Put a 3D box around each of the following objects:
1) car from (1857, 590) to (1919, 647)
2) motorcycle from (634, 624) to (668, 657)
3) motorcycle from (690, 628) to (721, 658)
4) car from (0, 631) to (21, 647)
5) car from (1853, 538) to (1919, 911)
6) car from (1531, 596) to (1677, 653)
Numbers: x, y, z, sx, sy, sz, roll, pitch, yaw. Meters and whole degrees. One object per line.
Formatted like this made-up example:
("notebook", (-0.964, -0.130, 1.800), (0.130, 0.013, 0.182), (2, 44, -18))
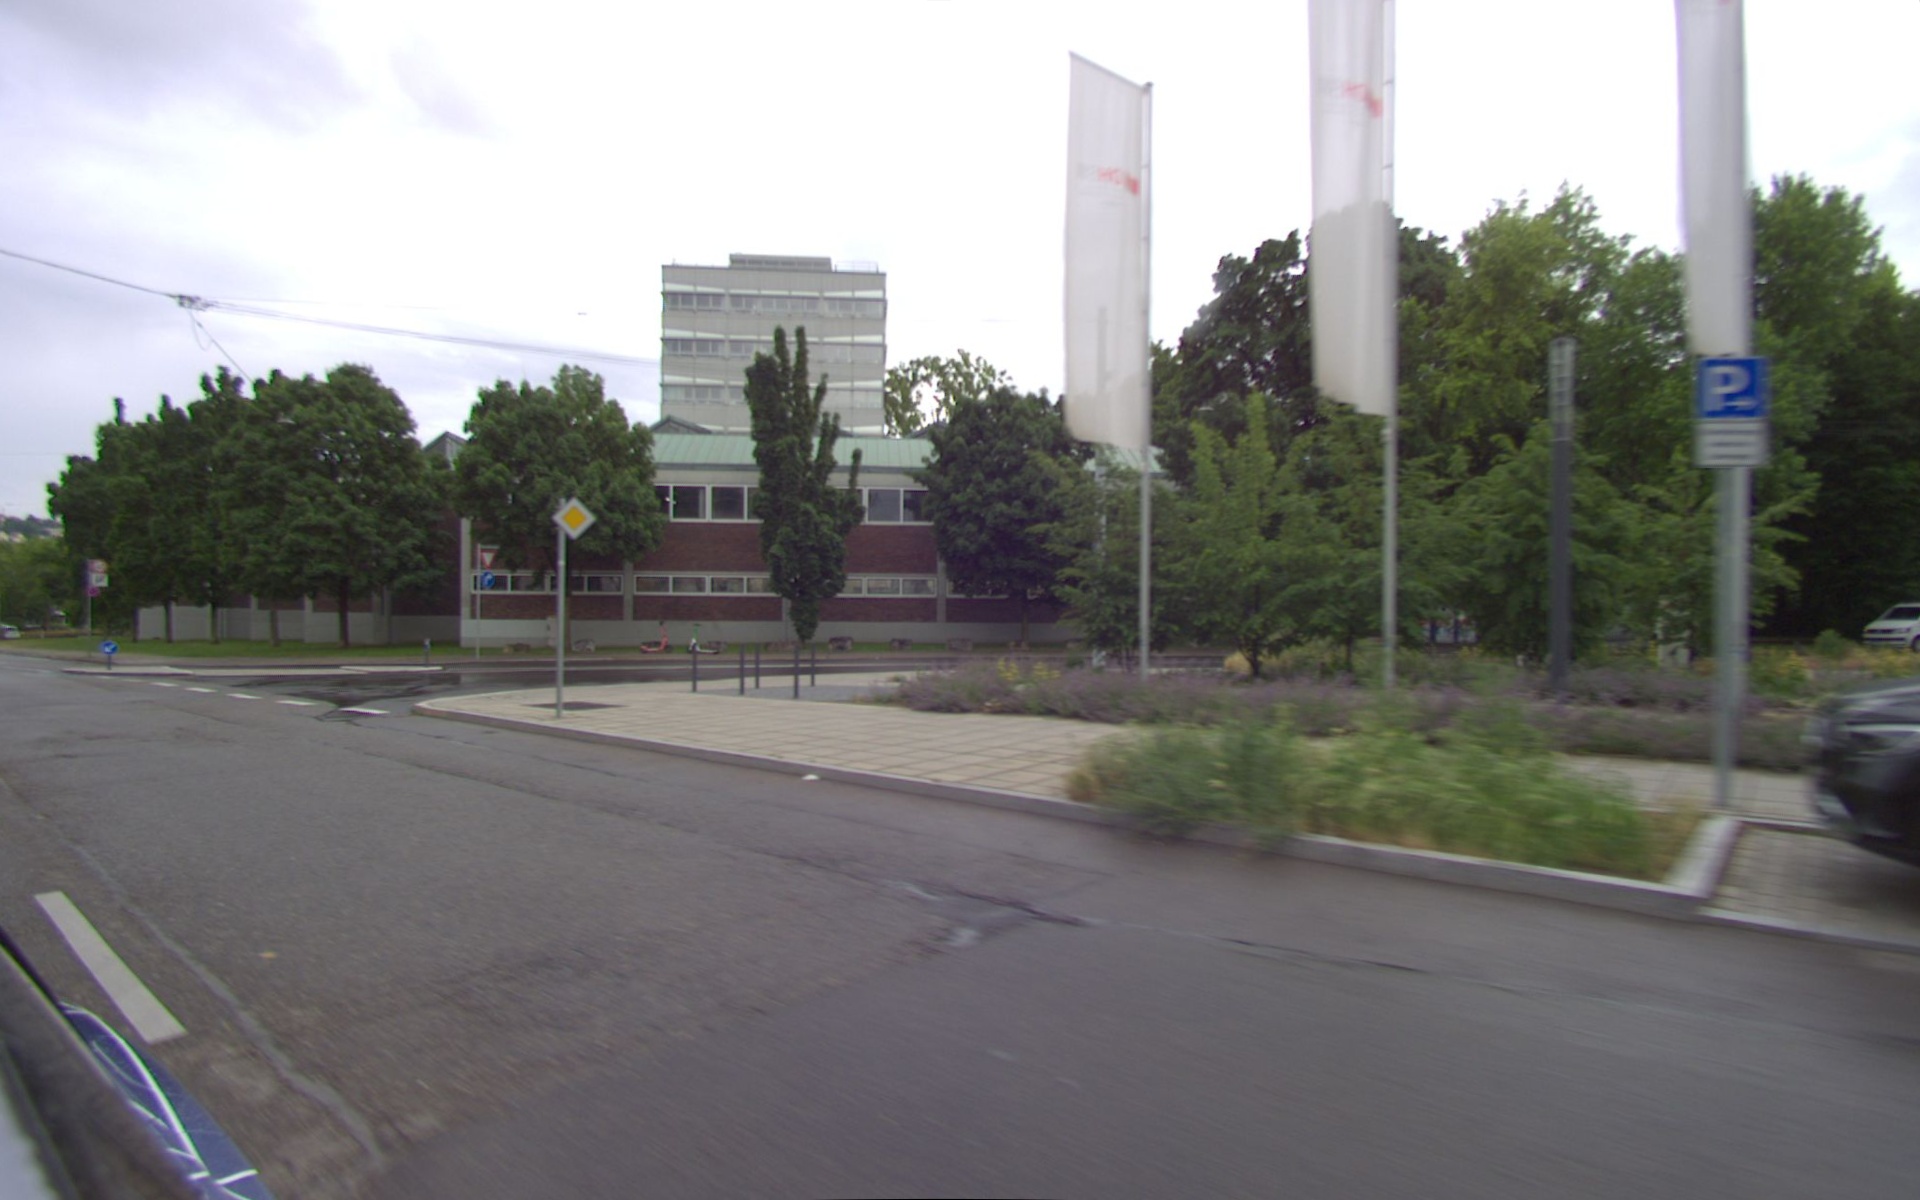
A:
("car", (38.232, 0.682, 39.535), (4.761, 2.112, 2.173), (-1, 0, -8))
("motorcycle", (-11.858, 1.548, 38.853), (1.207, 1.194, 0.414), (-1, 0, -12))
("motorcycle", (-9.811, 1.639, 39.083), (1.151, 1.133, 0.414), (0, 0, -12))
("car", (-104.220, 4.189, 109.121), (4.472, 1.621, 1.865), (-1, 0, 7))
("car", (6.344, 0.506, 3.759), (4.488, 1.630, 1.830), (-1, 0, 41))
("car", (24.590, 0.909, 38.739), (4.216, 2.058, 2.078), (-1, 0, -2))
